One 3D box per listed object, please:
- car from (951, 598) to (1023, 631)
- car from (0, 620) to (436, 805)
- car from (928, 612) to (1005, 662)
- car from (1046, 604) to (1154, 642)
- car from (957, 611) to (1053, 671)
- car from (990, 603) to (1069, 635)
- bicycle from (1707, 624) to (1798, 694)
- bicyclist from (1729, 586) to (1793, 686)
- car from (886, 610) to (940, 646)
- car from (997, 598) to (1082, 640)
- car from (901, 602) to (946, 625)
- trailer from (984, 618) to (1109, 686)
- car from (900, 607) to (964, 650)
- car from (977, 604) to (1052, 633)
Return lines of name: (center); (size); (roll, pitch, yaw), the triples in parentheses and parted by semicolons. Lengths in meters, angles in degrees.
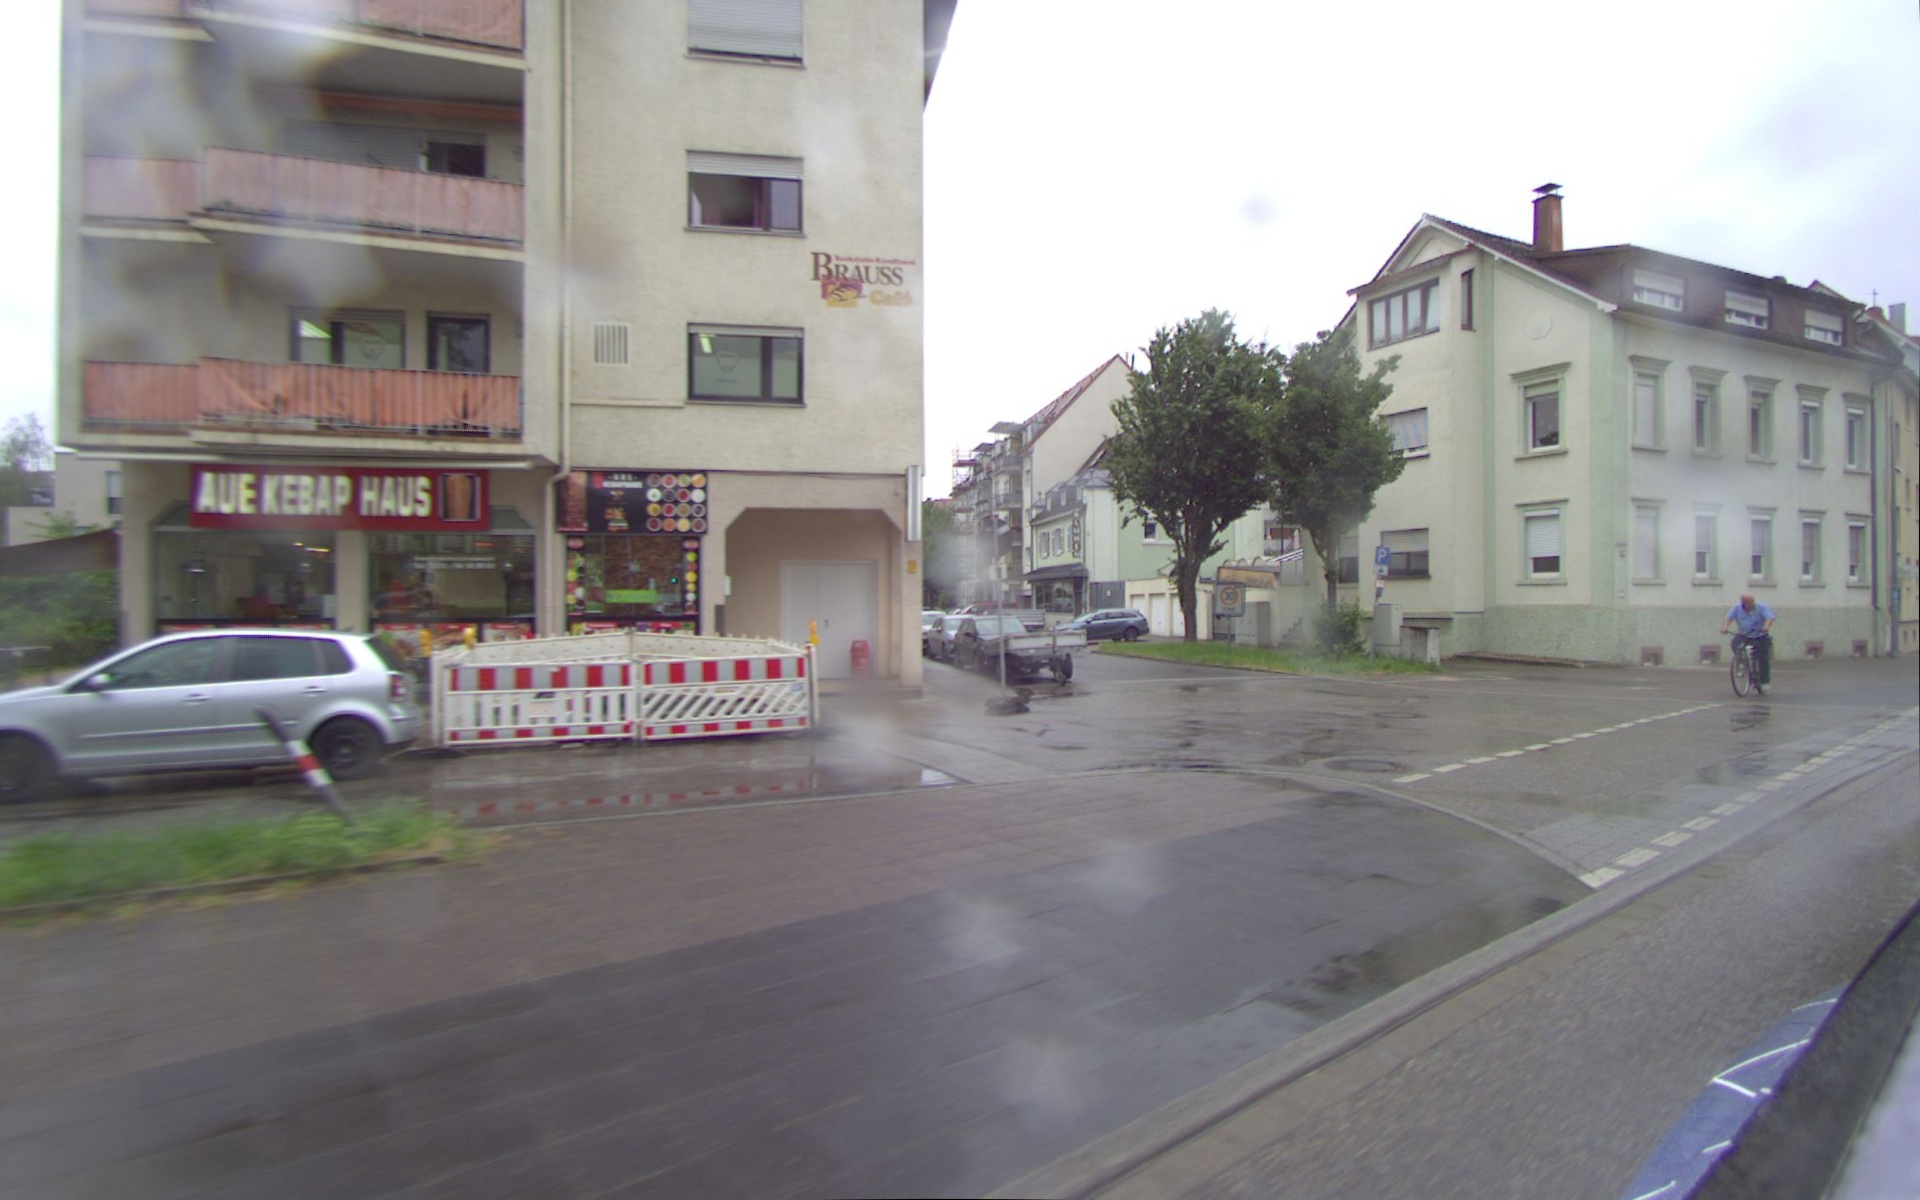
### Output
car: (1.748, 0.950, 66.288); (4.369, 2.039, 1.741); (-1, -1, -16)
car: (-7.292, 0.961, 9.604); (4.091, 1.452, 1.641); (-1, -1, -27)
car: (0.136, 1.109, 32.012); (1.702, 1.421, 4.186); (-1, 0, -10)
car: (6.138, 0.977, 44.439); (4.371, 1.554, 1.741); (-1, -1, -16)
car: (1.082, 1.003, 26.490); (1.702, 1.421, 4.006); (-1, 0, -9)
car: (3.786, 1.012, 55.398); (3.917, 1.683, 2.003); (-1, -1, -12)
bicycle: (13.092, 0.945, 16.702); (1.935, 1.074, 0.674); (1, -2, -36)
bicyclist: (13.179, 0.587, 16.659); (0.702, 1.603, 0.640); (1, -2, -36)
car: (-2.079, 1.150, 43.641); (1.702, 1.446, 4.186); (-1, 0, -11)
car: (4.077, 0.963, 51.967); (3.917, 2.039, 2.003); (-1, -1, -12)
car: (-3.450, 1.282, 95.417); (3.916, 2.039, 2.003); (-1, -1, -13)
trailer: (1.749, 1.047, 22.029); (1.787, 1.247, 4.539); (-1, 0, -7)
car: (-1.115, 1.031, 38.210); (1.702, 1.535, 4.186); (-1, 0, -11)
car: (3.140, 1.077, 58.839); (3.916, 1.594, 2.003); (-1, -1, -13)
